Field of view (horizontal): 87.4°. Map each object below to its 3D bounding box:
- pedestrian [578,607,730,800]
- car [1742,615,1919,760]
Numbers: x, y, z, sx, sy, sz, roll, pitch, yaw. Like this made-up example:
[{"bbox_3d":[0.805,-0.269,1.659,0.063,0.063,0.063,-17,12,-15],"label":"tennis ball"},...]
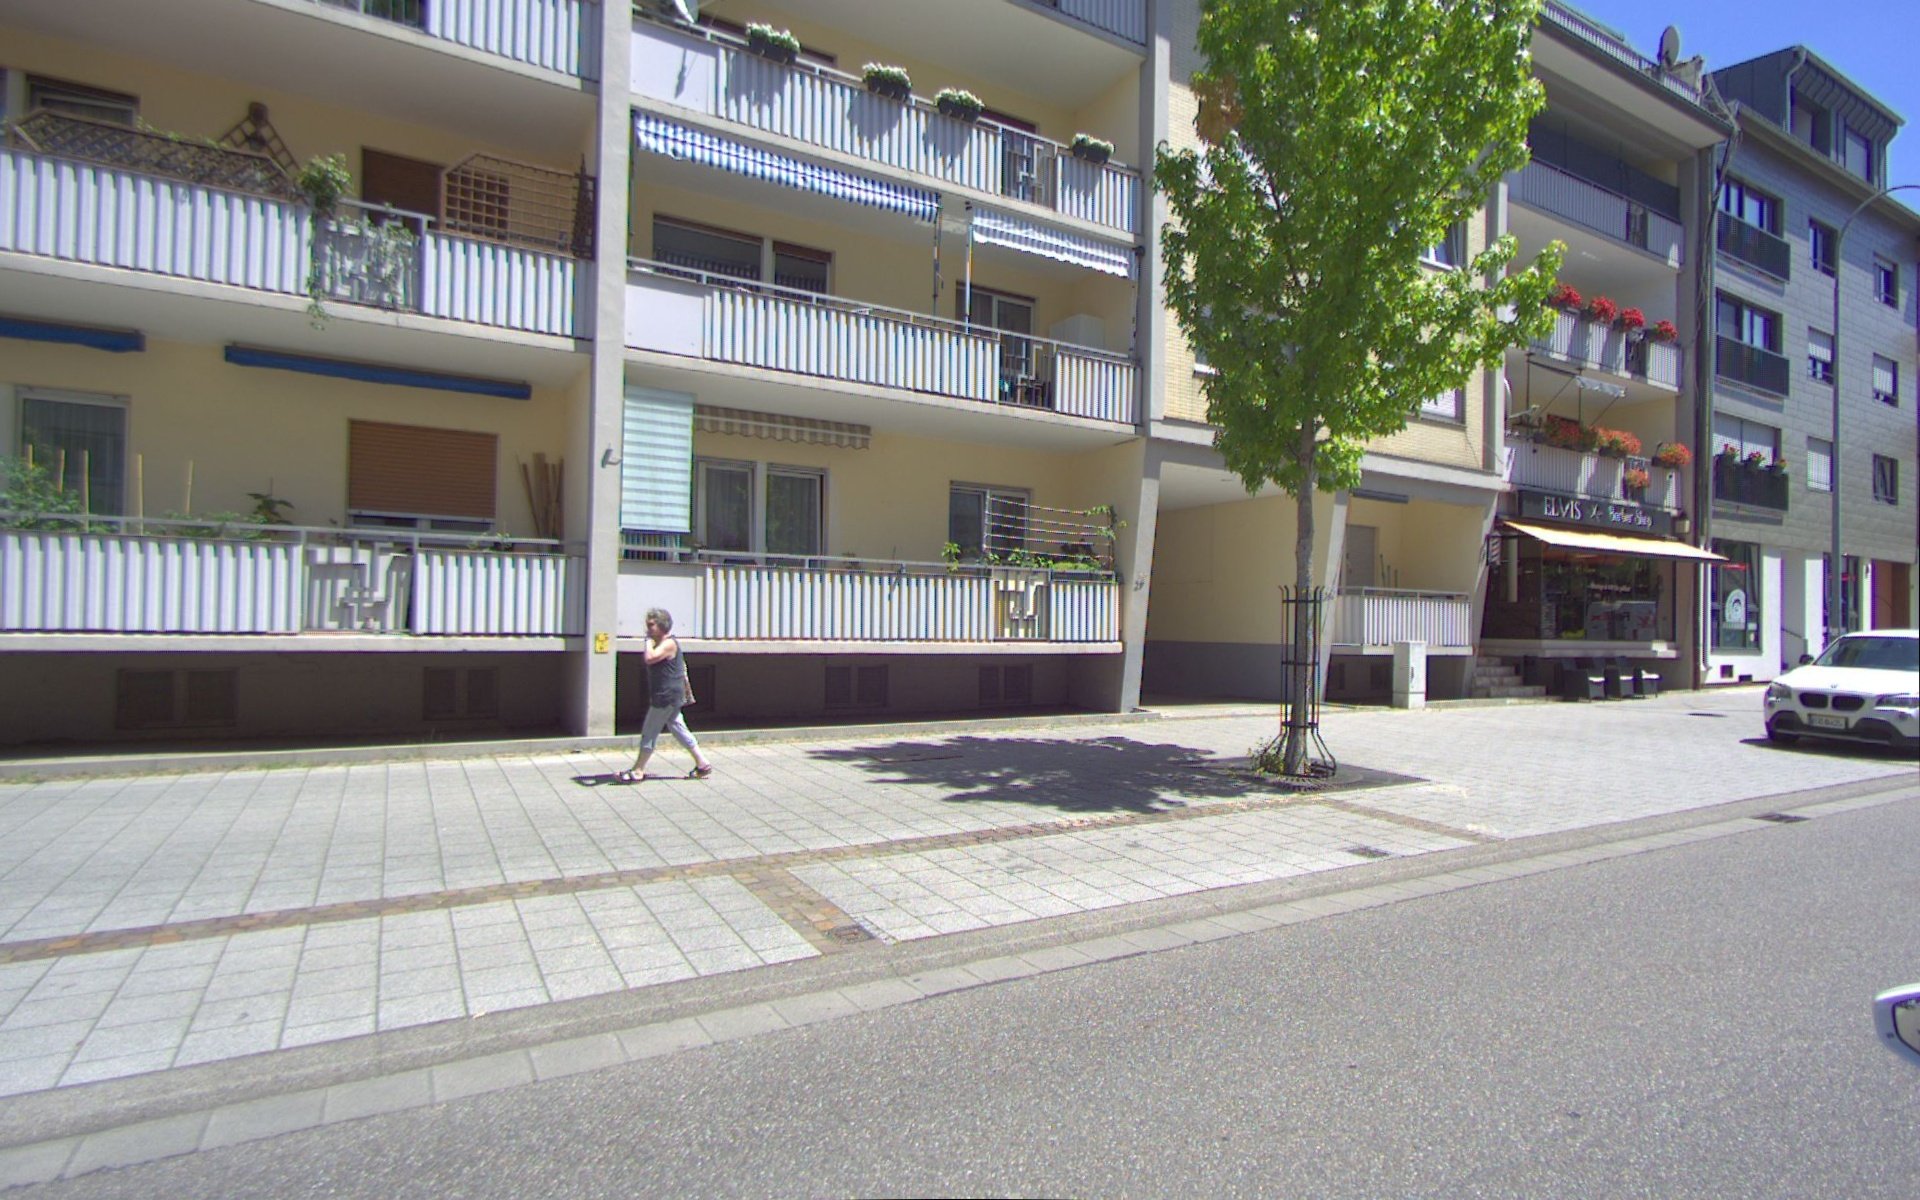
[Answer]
[{"bbox_3d":[-2.620,0.837,8.583,1.084,1.512,0.694,1,1,-31],"label":"pedestrian"},{"bbox_3d":[12.701,1.089,13.632,4.348,1.640,1.744,1,0,-29],"label":"car"}]
